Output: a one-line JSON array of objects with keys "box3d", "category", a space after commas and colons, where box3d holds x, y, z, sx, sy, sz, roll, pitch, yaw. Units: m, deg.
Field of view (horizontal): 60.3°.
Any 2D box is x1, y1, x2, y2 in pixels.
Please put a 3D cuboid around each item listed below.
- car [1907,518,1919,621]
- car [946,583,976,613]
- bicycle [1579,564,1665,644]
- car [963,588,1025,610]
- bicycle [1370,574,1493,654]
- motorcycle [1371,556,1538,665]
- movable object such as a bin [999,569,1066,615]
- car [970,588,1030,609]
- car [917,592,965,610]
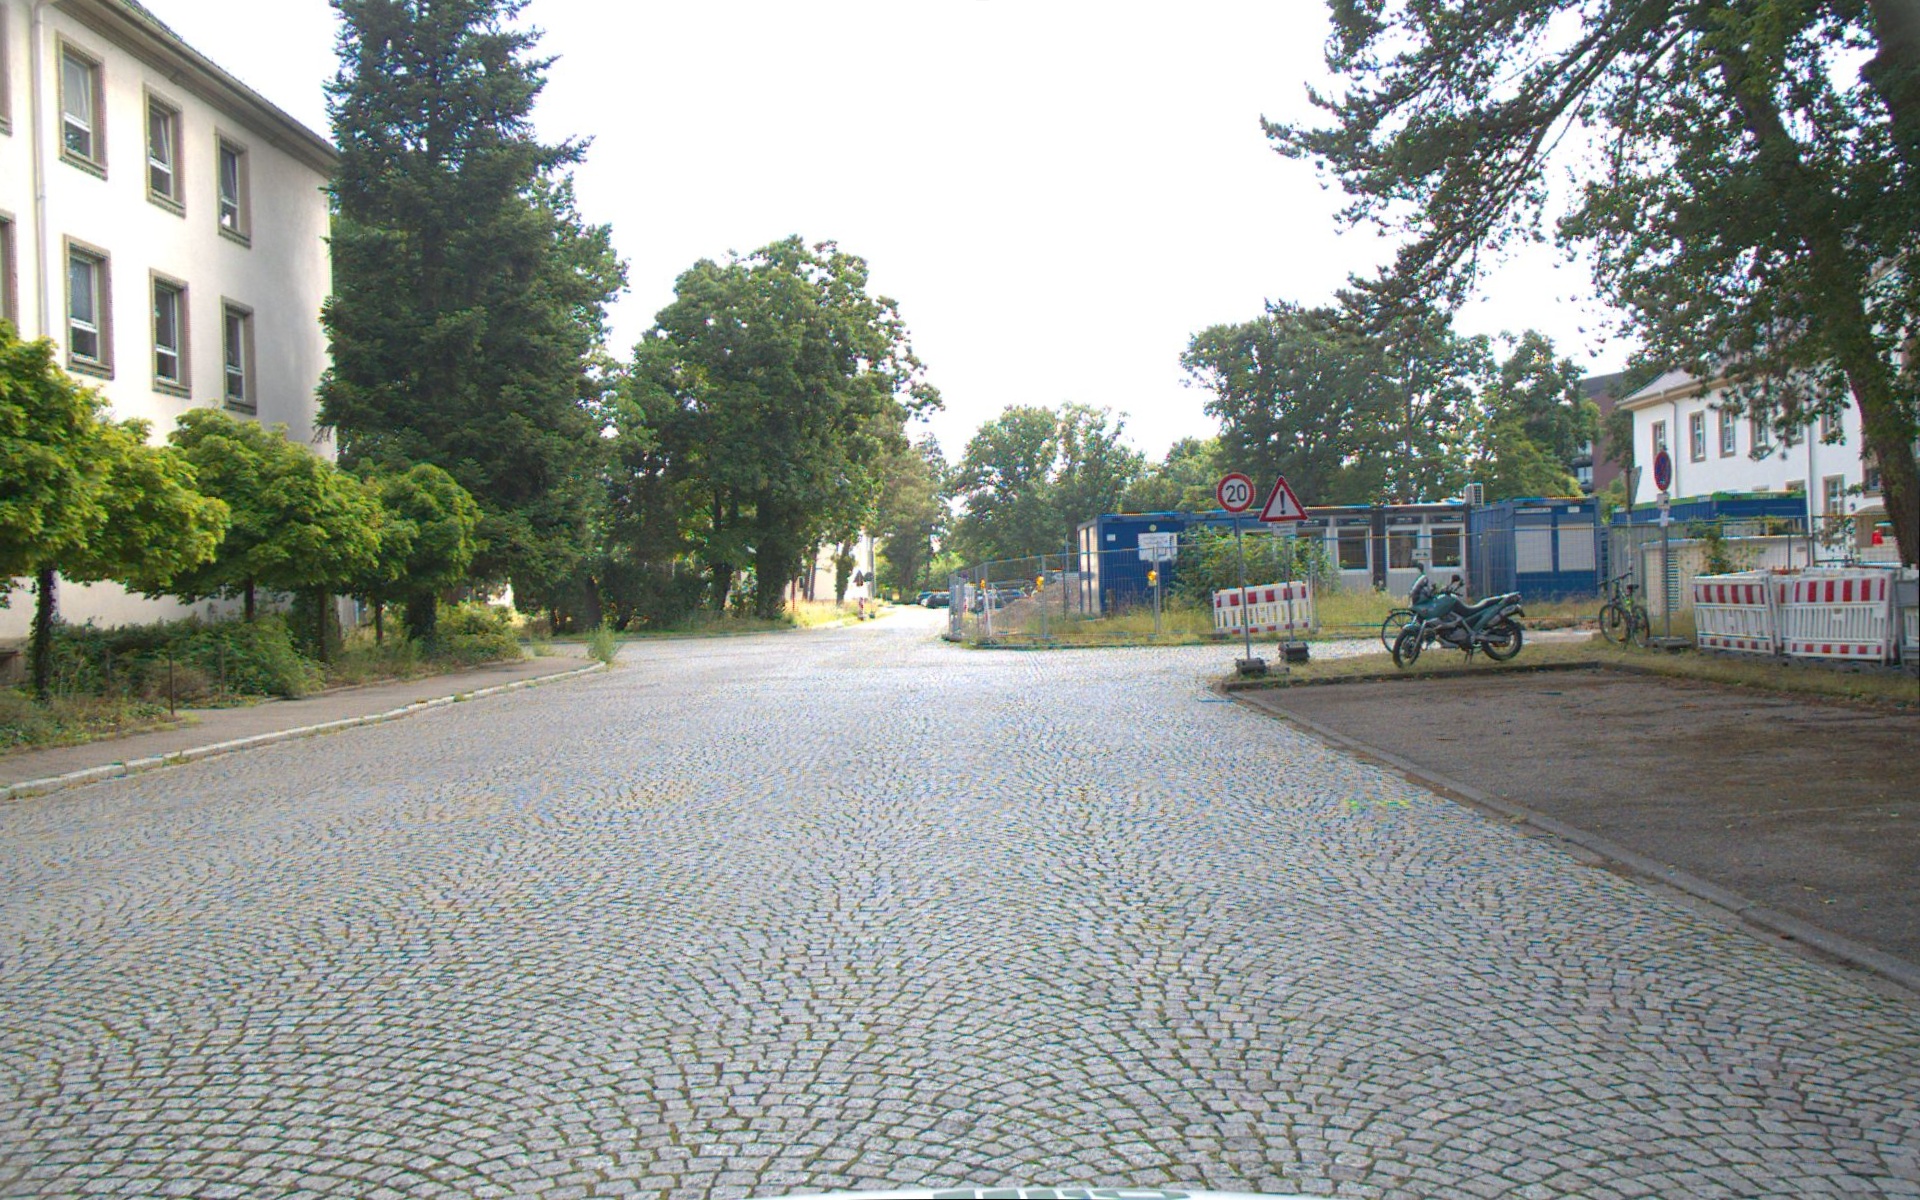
[{"box3d": [20.581, -0.644, 30.802, 4.758, 1.954, 1.907, -2, 1, 1], "category": "car"}, {"box3d": [0.032, -0.145, 115.729, 1.953, 2.049, 4.090, -1, 0, -2], "category": "car"}, {"box3d": [10.475, 0.051, 26.233, 0.629, 1.189, 1.905, -2, 0, 2], "category": "bicycle"}, {"box3d": [2.506, -0.079, 121.721, 4.308, 1.537, 2.002, 0, 0, 8], "category": "car"}, {"box3d": [7.703, 0.229, 27.029, 1.859, 1.218, 0.656, -2, 0, 19], "category": "bicycle"}, {"box3d": [7.354, 0.151, 24.643, 2.232, 1.511, 0.756, -2, 0, -5], "category": "motorcycle"}, {"box3d": [4.356, -0.519, 98.998, 2.088, 2.638, 4.784, -1, 0, 29], "category": "movable object such as a bin"}, {"box3d": [3.058, -0.090, 125.444, 4.308, 1.537, 2.002, 0, 0, 8], "category": "car"}, {"box3d": [-1.891, 0.080, 167.369, 4.687, 1.669, 1.998, -1, 0, -6], "category": "car"}]
